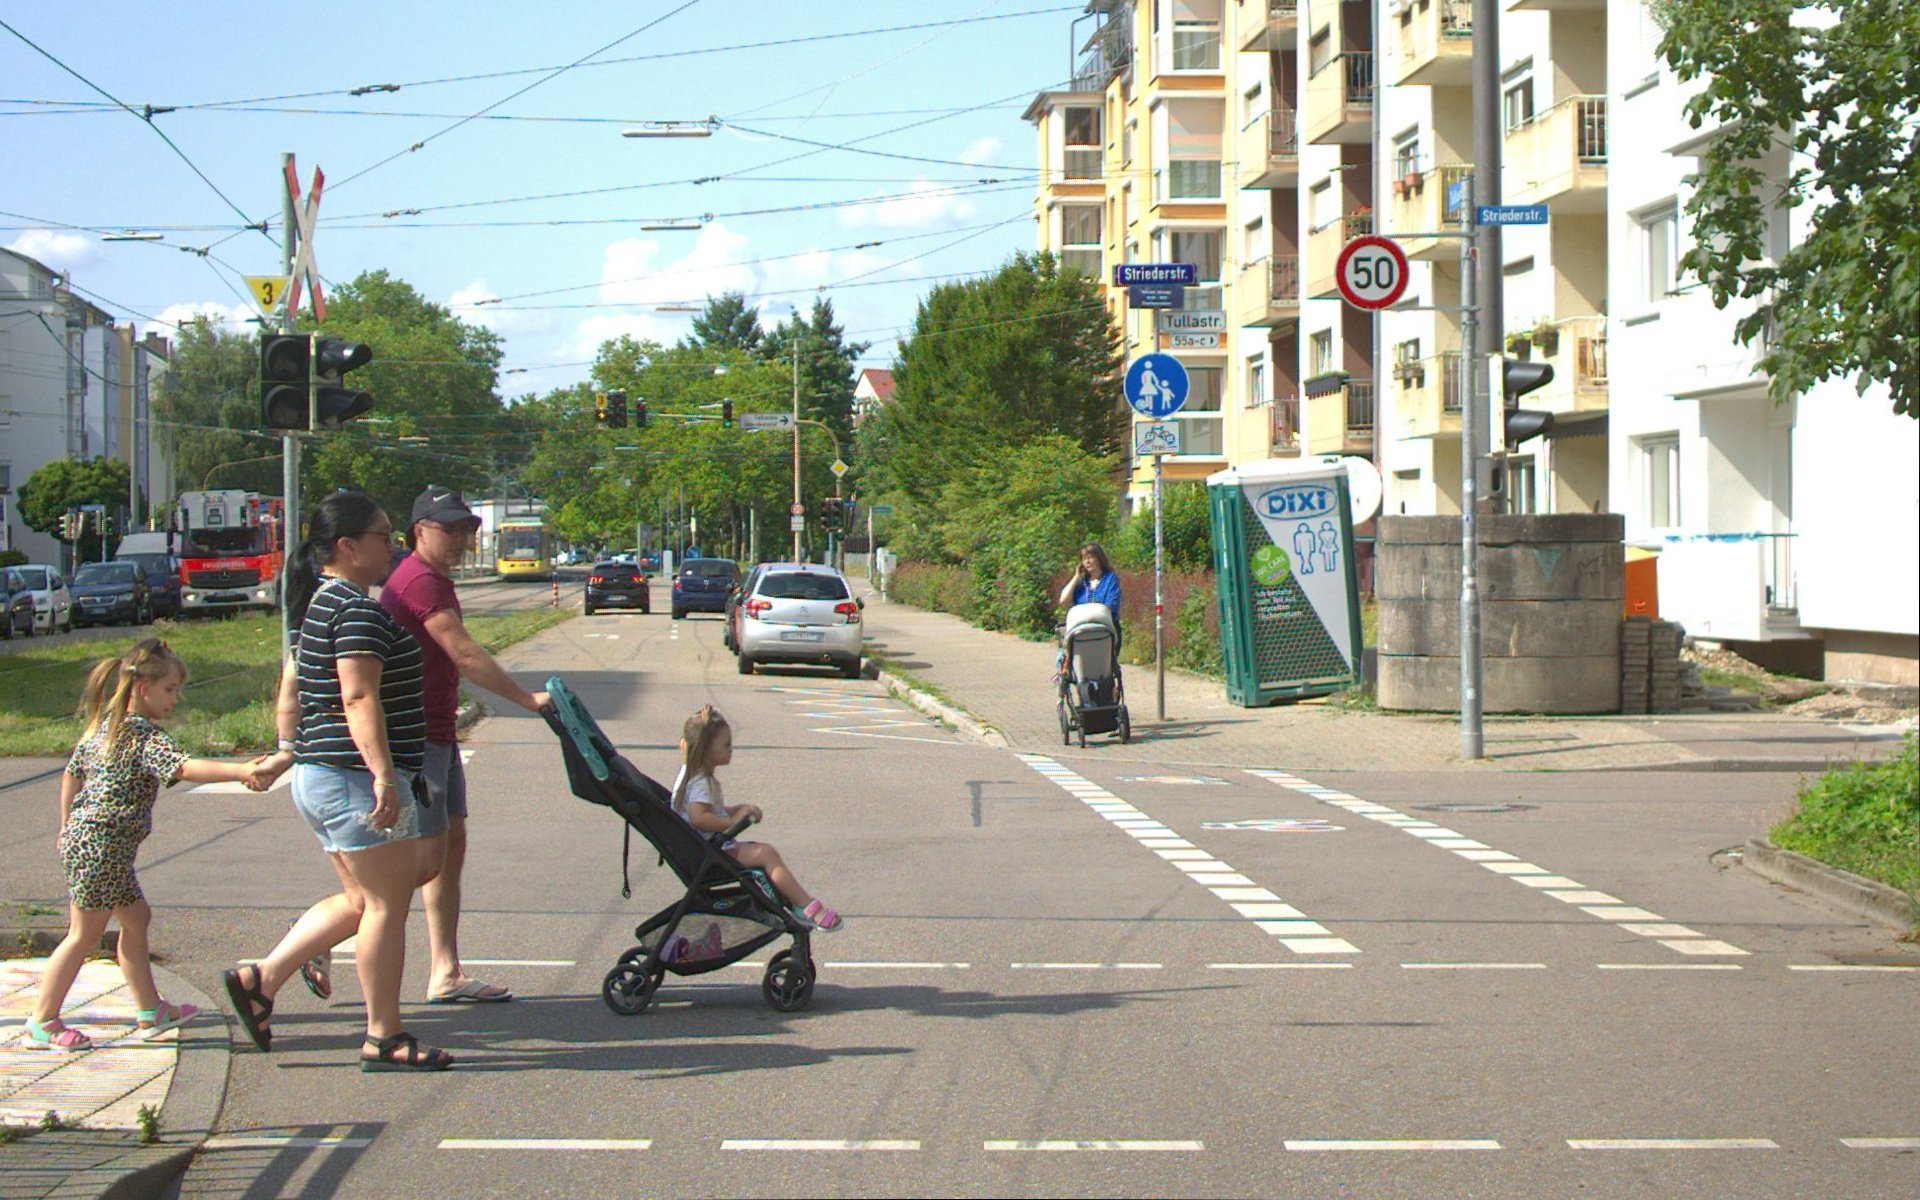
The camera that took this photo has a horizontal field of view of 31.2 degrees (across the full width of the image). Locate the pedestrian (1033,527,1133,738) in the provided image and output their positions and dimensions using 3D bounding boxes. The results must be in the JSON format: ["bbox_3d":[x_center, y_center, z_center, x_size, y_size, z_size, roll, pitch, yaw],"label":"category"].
[{"bbox_3d":[1.076,0.272,30.258,0.701,1.783,1.030,-3,1,-2],"label":"pedestrian"}]

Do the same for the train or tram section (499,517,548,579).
[{"bbox_3d":[-22.259,-2.652,175.620,2.258,3.058,8.135,-1,1,-6],"label":"train or tram section"}]

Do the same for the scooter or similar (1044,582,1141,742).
[{"bbox_3d":[1.126,0.520,29.385,0.662,1.299,0.868,-4,1,-4],"label":"scooter or similar"}]

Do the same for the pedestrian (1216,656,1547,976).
[{"bbox_3d":[2.967,1.476,25.007,1.993,2.007,4.000,1,0,2],"label":"pedestrian"}]

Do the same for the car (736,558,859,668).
[{"bbox_3d":[-2.289,0.163,48.270,1.622,1.460,3.511,1,0,-3],"label":"car"}]

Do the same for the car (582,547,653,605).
[{"bbox_3d":[-9.269,-0.653,93.163,1.743,1.502,4.001,1,0,-4],"label":"car"}]

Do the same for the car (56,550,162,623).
[{"bbox_3d":[-21.059,-0.342,85.213,1.909,1.705,4.001,1,0,-5],"label":"car"}]

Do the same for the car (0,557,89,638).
[{"bbox_3d":[-20.462,-0.071,75.334,1.993,1.705,4.001,1,0,-4],"label":"car"}]

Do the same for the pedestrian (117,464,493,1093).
[{"bbox_3d":[-1.843,0.465,9.623,0.845,1.662,0.799,-1,0,-25],"label":"pedestrian"}]

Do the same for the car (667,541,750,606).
[{"bbox_3d":[-6.140,-0.645,84.318,1.744,1.502,4.000,1,0,-1],"label":"car"}]

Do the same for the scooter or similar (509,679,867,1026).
[{"bbox_3d":[-0.874,0.803,11.127,1.100,1.052,0.650,1,0,-3],"label":"scooter or similar"}]

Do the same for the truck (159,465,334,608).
[{"bbox_3d":[-18.428,-1.594,89.408,2.666,3.459,10.169,1,0,-2],"label":"truck"}]

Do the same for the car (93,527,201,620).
[{"bbox_3d":[-21.571,-0.709,91.402,1.967,2.362,5.202,1,0,-4],"label":"car"}]

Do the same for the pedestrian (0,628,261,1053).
[{"bbox_3d":[-2.445,0.679,10.068,0.636,1.176,0.799,-1,0,-1],"label":"pedestrian"}]

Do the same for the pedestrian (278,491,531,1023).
[{"bbox_3d":[-1.774,0.489,11.054,0.705,1.642,0.637,2,0,-5],"label":"pedestrian"}]
